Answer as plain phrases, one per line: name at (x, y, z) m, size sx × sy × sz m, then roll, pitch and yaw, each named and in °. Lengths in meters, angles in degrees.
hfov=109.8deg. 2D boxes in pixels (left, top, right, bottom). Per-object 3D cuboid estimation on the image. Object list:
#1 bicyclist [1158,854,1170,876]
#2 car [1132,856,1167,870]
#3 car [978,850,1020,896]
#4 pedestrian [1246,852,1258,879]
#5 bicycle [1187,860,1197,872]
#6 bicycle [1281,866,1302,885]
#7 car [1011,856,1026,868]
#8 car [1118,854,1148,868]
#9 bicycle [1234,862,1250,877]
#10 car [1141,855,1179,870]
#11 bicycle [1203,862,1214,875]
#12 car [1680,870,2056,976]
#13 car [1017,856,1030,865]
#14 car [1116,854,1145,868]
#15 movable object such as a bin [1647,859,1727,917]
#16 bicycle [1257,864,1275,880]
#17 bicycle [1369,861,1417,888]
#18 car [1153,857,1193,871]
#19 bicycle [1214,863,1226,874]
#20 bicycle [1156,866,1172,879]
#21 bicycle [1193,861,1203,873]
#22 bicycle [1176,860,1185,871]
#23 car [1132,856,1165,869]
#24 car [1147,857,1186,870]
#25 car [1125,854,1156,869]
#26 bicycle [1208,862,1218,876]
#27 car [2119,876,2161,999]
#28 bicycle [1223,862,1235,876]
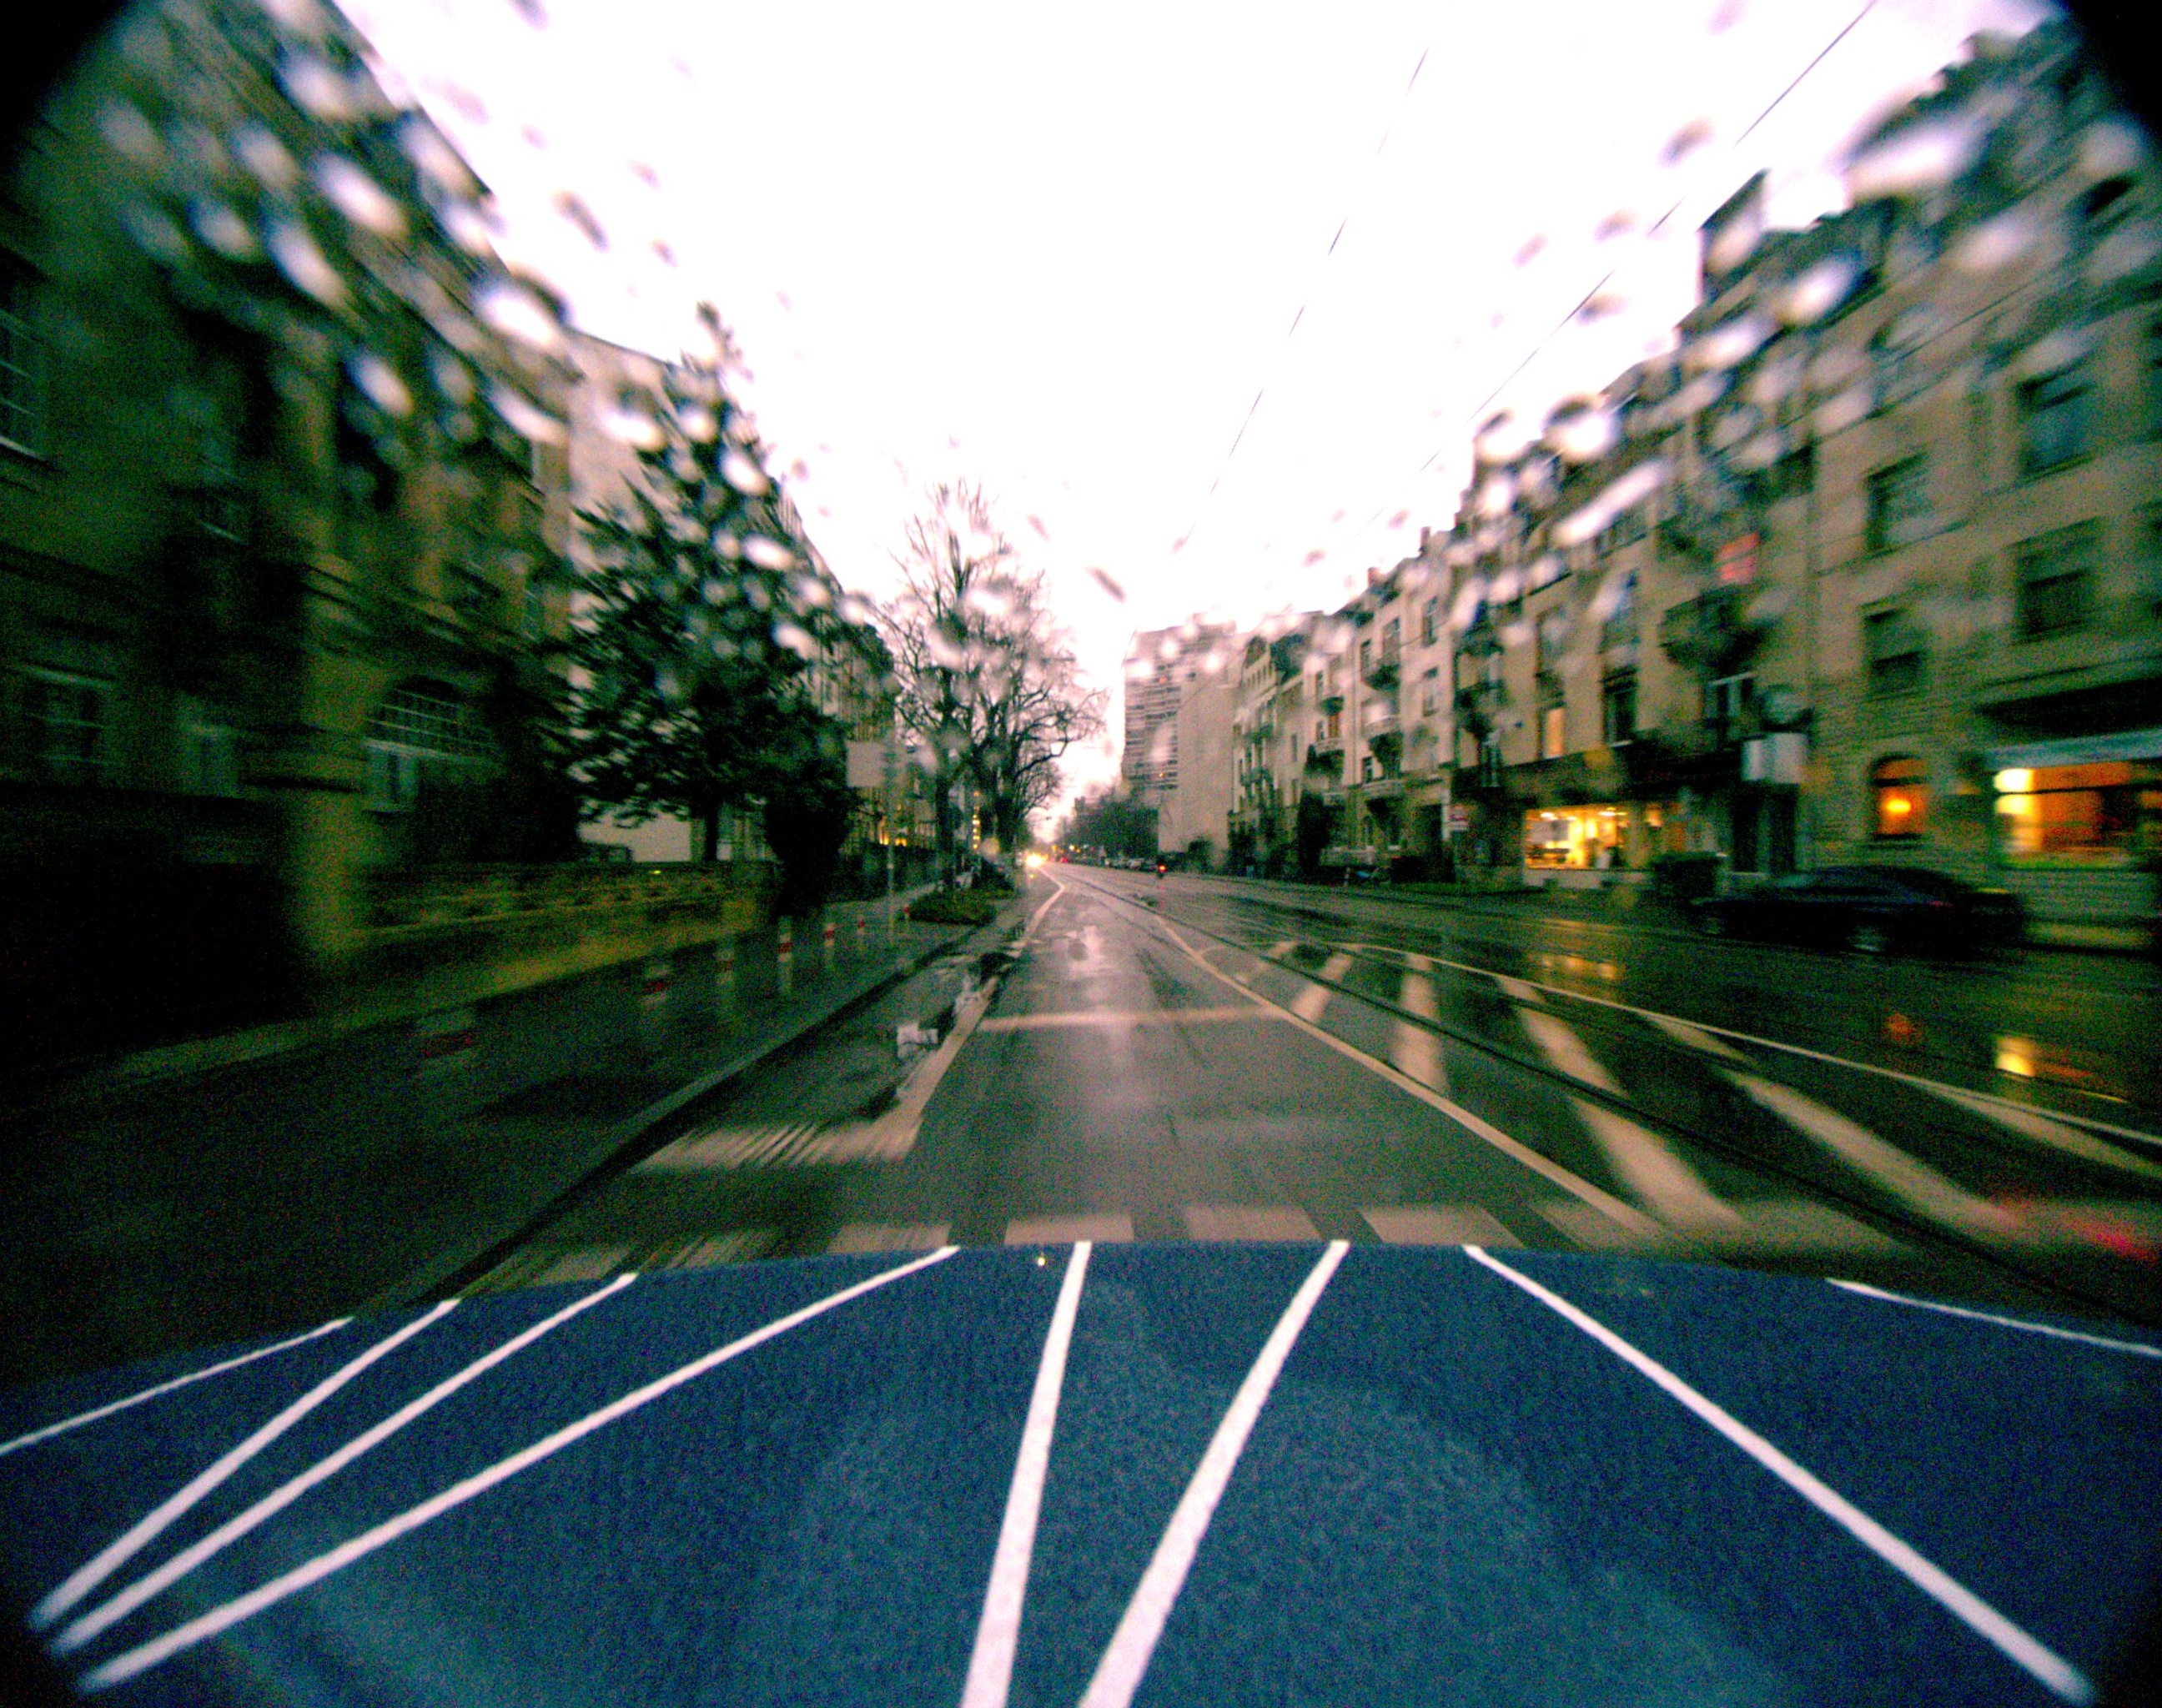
bicyclist at (5.770, 0.761, 52.898) m, size 0.658 × 1.491 × 0.657 m, roll 1°, pitch 0°, yaw -11°
car at (7.988, 1.055, 89.204) m, size 3.841 × 1.405 × 1.727 m, roll -3°, pitch 0°, yaw -3°
car at (-3.815, 0.816, 35.621) m, size 1.727 × 1.934 × 4.506 m, roll -3°, pitch 0°, yaw -5°
pedestrian at (10.537, 0.707, 46.827) m, size 0.573 × 1.633 × 0.449 m, roll -3°, pitch 1°, yaw 1°
bicycle at (9.711, 1.073, 66.436) m, size 0.435 × 1.001 × 1.880 m, roll -3°, pitch 0°, yaw -2°
bicycle at (11.496, 1.168, 41.623) m, size 0.531 × 0.934 × 2.086 m, roll -3°, pitch 0°, yaw 0°
car at (-7.867, 0.960, 95.269) m, size 1.727 × 1.405 × 3.840 m, roll 0°, pitch 0°, yaw -7°
car at (7.044, 0.959, 102.882) m, size 3.841 × 1.707 × 1.726 m, roll -3°, pitch 1°, yaw -3°
bicycle at (10.928, 1.047, 51.765) m, size 0.485 × 1.001 × 2.208 m, roll -3°, pitch 0°, yaw -2°
car at (8.645, 0.974, 83.415) m, size 3.841 × 1.405 × 1.726 m, roll -3°, pitch 1°, yaw -3°
bicycle at (10.197, 1.167, 60.769) m, size 0.435 × 1.001 × 1.880 m, roll -3°, pitch 0°, yaw -2°
car at (13.690, 1.086, 13.716) m, size 1.807 × 1.382 × 4.506 m, roll -3°, pitch 0°, yaw -7°
car at (-8.722, 0.966, 114.526) m, size 1.727 × 1.405 × 3.840 m, roll 0°, pitch 0°, yaw -7°
car at (6.956, 0.925, 106.838) m, size 3.841 × 1.707 × 1.726 m, roll -3°, pitch 1°, yaw -3°
movable object such as a bin at (16.078, 0.880, 20.187) m, size 1.240 × 1.423 × 1.073 m, roll -3°, pitch 1°, yaw -5°
bicycle at (11.269, 1.095, 46.419) m, size 0.531 × 0.884 × 2.209 m, roll -3°, pitch 0°, yaw 0°
bicycle at (14.695, 0.966, 35.814) m, size 1.990 × 1.152 × 0.531 m, roll -3°, pitch 1°, yaw -5°
car at (9.392, 1.035, 77.973) m, size 3.841 × 1.405 × 1.727 m, roll -1°, pitch 0°, yaw -3°
bicycle at (10.435, 1.078, 56.968) m, size 0.442 × 0.827 × 1.767 m, roll -3°, pitch 0°, yaw -2°
bicycle at (5.761, 1.287, 52.854) m, size 0.649 × 0.884 × 1.711 m, roll 1°, pitch 0°, yaw -11°
bicycle at (9.900, 1.079, 64.436) m, size 0.435 × 1.001 × 1.880 m, roll -3°, pitch 0°, yaw -2°
bicycle at (9.379, 1.077, 71.367) m, size 0.469 × 1.001 × 1.880 m, roll -3°, pitch 0°, yaw -2°
car at (8.285, 1.047, 93.721) m, size 3.841 × 1.405 × 1.726 m, roll -3°, pitch 1°, yaw -3°
car at (9.026, 1.026, 80.627) m, size 3.841 × 1.405 × 1.727 m, roll 0°, pitch 0°, yaw -3°
car at (7.865, 0.965, 100.109) m, size 3.841 × 1.707 × 1.727 m, roll -3°, pitch 0°, yaw -3°
bicycle at (10.218, 1.128, 58.833) m, size 0.435 × 1.001 × 1.604 m, roll -3°, pitch 0°, yaw -2°
car at (14.677, 1.025, 8.224) m, size 1.677 × 1.507 × 3.676 m, roll -3°, pitch 0°, yaw -10°
bicycle at (10.725, 1.071, 55.169) m, size 0.435 × 1.001 × 1.712 m, roll -3°, pitch 0°, yaw -2°
